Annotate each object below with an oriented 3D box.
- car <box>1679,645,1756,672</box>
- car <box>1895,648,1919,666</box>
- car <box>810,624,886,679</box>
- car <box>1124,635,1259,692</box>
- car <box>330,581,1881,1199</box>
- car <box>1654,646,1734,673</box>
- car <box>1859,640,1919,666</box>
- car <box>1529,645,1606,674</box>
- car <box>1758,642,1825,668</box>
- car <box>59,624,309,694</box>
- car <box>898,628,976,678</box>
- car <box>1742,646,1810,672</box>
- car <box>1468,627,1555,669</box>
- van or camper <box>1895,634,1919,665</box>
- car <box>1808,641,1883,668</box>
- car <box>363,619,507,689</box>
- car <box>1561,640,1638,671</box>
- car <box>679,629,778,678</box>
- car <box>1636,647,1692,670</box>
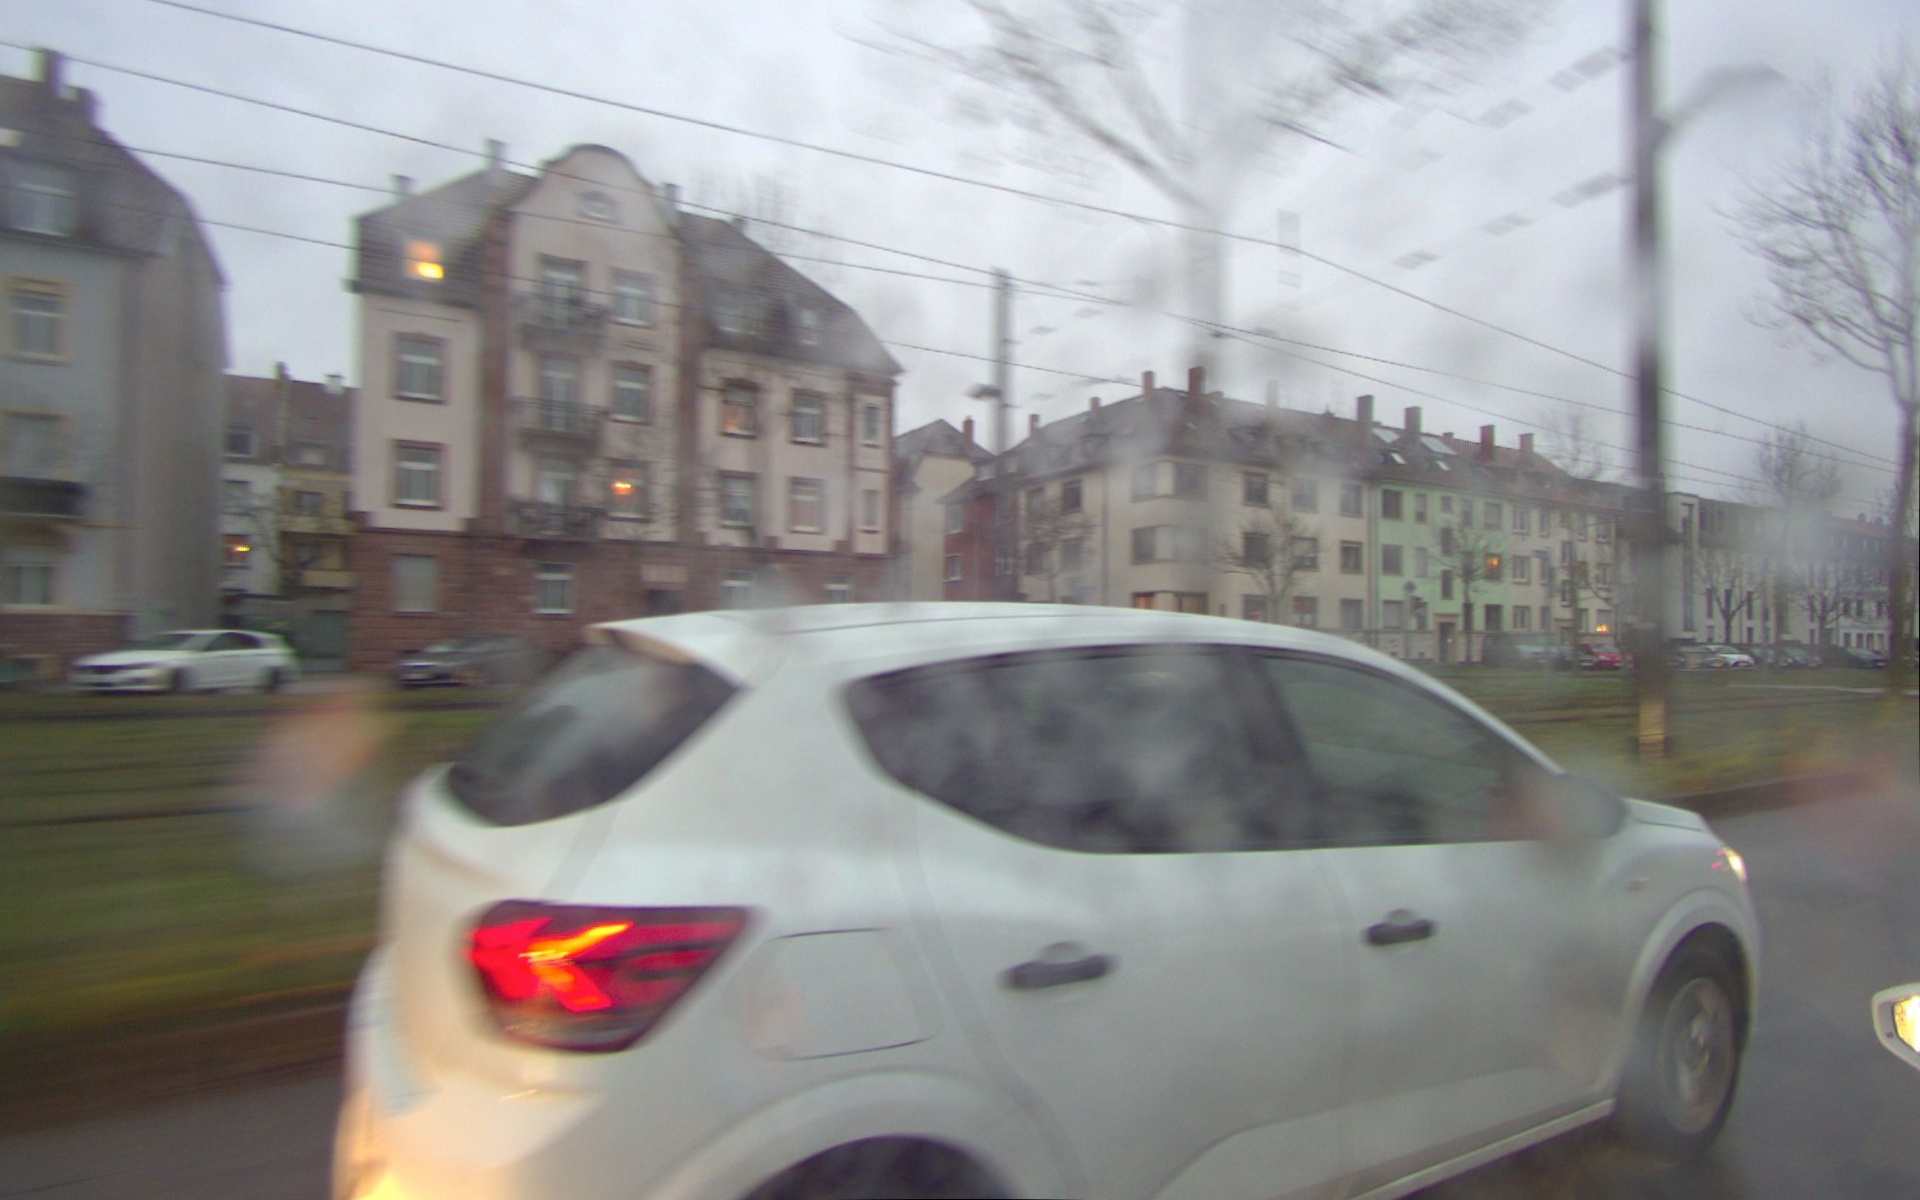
[{"bbox_3d":[42.715,3.260,56.765,1.702,1.262,3.846,2,0,6],"label":"car"},{"bbox_3d":[70.581,4.215,73.814,1.360,1.220,2.890,2,0,11],"label":"car"},{"bbox_3d":[-3.230,1.465,29.624,1.321,1.246,4.046,3,1,6],"label":"car"},{"bbox_3d":[6.744,1.819,29.187,3.738,1.524,1.538,2,0,-30],"label":"car"},{"bbox_3d":[0.630,0.779,2.841,3.951,1.494,1.682,2,0,-28],"label":"car"},{"bbox_3d":[40.324,3.246,55.261,1.703,1.188,3.822,2,0,2],"label":"car"},{"bbox_3d":[65.248,3.716,70.307,1.707,1.610,3.852,2,0,11],"label":"car"},{"bbox_3d":[29.751,2.884,49.314,1.702,1.156,3.573,2,0,2],"label":"car"},{"bbox_3d":[51.072,3.358,61.781,1.636,1.440,3.387,2,0,9],"label":"car"},{"bbox_3d":[-17.003,1.234,22.322,1.796,1.274,4.269,2,0,10],"label":"car"},{"bbox_3d":[-0.649,1.612,31.523,1.677,1.176,4.107,4,1,9],"label":"car"},{"bbox_3d":[48.965,3.530,60.336,1.703,1.354,2.937,2,0,2],"label":"car"},{"bbox_3d":[26.099,2.230,47.711,1.796,1.746,4.660,2,0,4],"label":"car"},{"bbox_3d":[76.837,3.946,78.234,1.960,2.391,6.884,2,0,4],"label":"van or camper"},{"bbox_3d":[59.243,3.599,67.302,1.636,1.561,4.165,2,0,6],"label":"car"},{"bbox_3d":[-12.549,1.254,24.238,1.842,1.437,3.361,3,-1,-5],"label":"car"},{"bbox_3d":[32.123,2.745,50.583,1.653,1.326,3.581,2,0,2],"label":"car"},{"bbox_3d":[-6.217,1.418,27.251,1.759,1.003,2.920,4,1,5],"label":"car"},{"bbox_3d":[37.662,3.103,53.782,1.408,1.062,2.393,1,0,2],"label":"car"}]
